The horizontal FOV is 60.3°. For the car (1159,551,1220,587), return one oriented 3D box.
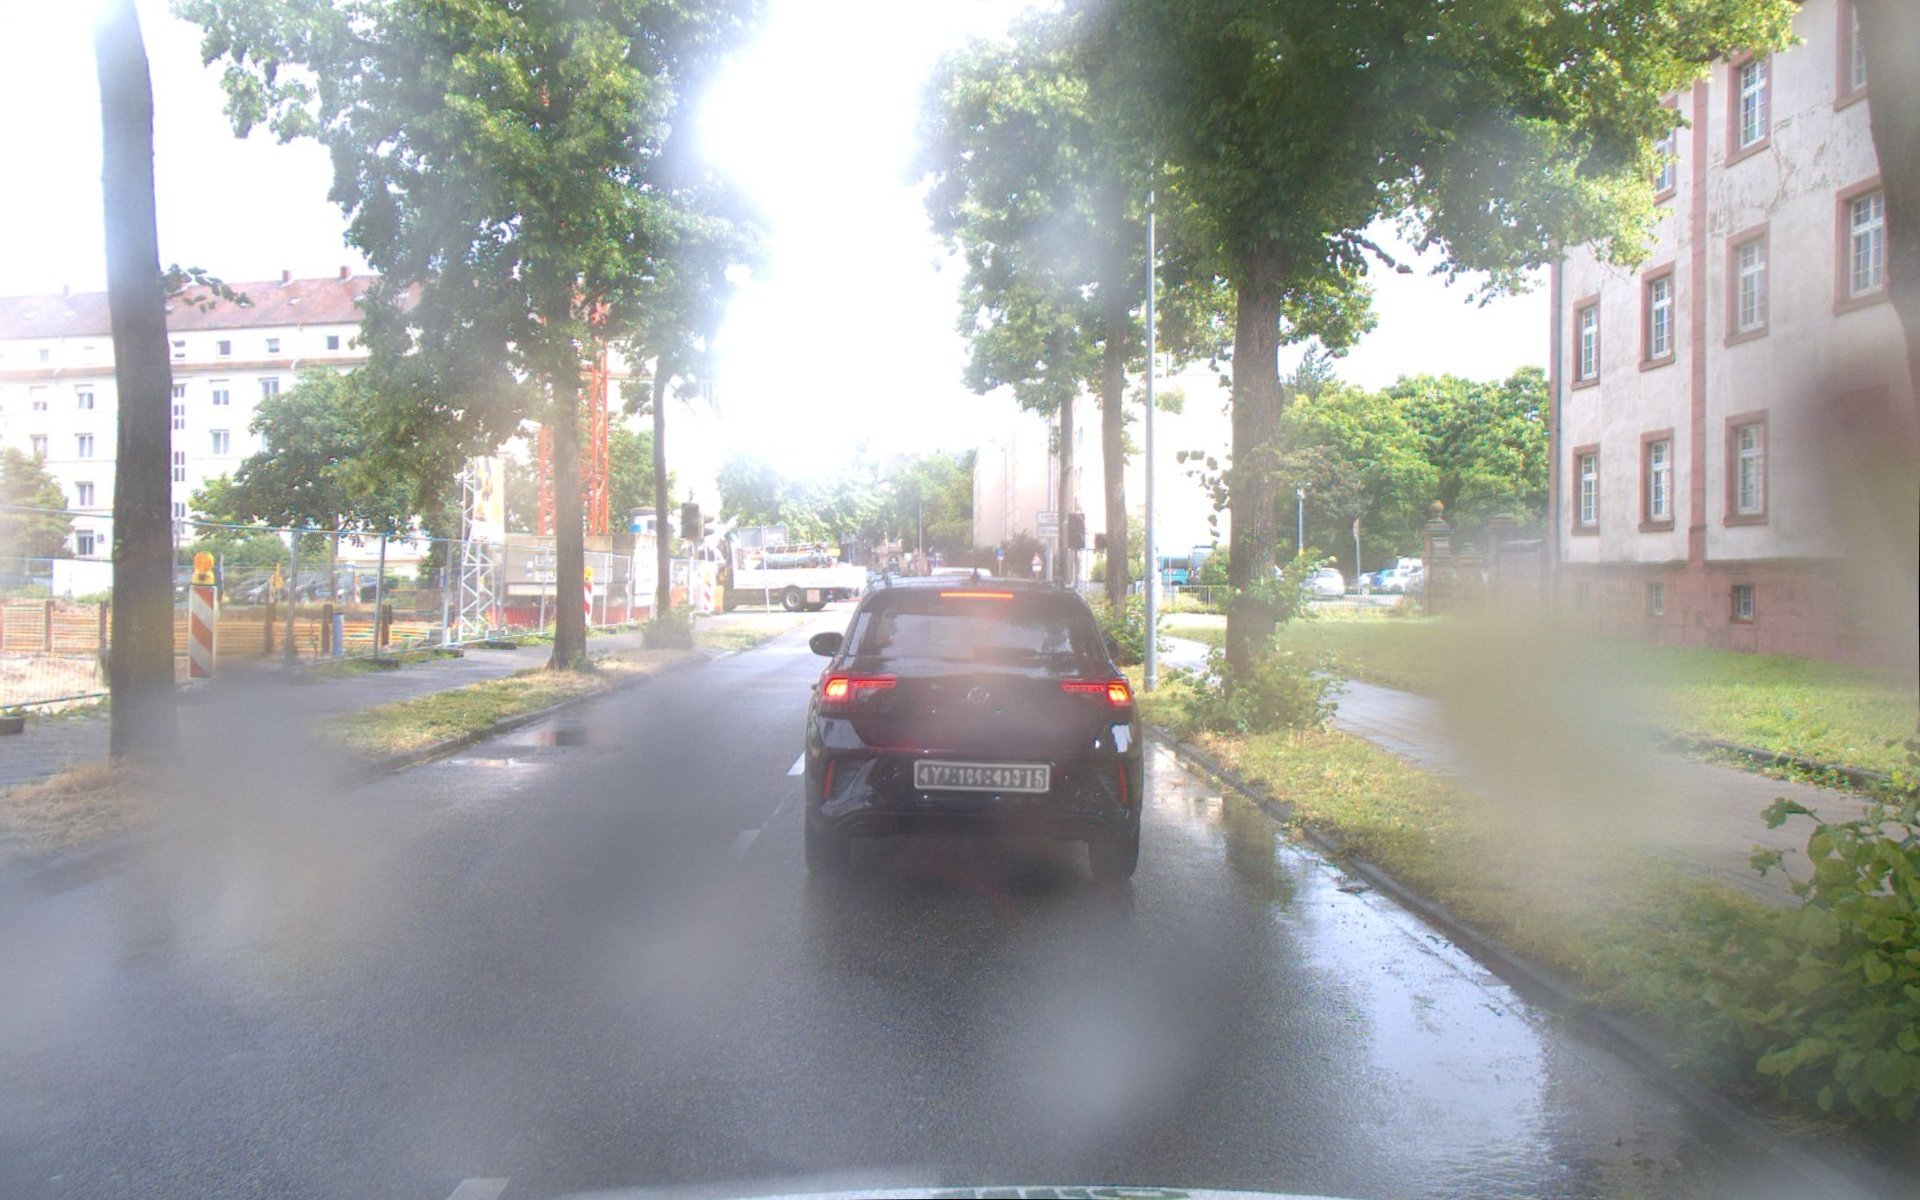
[{"bbox_3d":[13.112,-1.770,94.644,3.335,1.812,1.761,-3,0,8],"label":"car"}]

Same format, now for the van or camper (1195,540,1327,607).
[{"bbox_3d":[12.226,-1.083,67.347,4.931,2.641,2.167,-1,1,-2],"label":"van or camper"}]

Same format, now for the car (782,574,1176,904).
[{"bbox_3d":[0.063,0.632,9.843,1.856,1.549,4.000,1,1,-1],"label":"car"}]

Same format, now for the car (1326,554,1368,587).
[{"bbox_3d":[23.893,-1.822,102.190,1.828,1.889,3.812,-3,1,3],"label":"car"}]

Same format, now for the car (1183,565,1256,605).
[{"bbox_3d":[12.407,-0.736,79.267,3.335,1.812,1.761,-1,1,6],"label":"car"}]

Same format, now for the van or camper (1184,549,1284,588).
[{"bbox_3d":[13.961,-1.621,84.461,4.775,1.959,2.131,1,1,0],"label":"van or camper"}]

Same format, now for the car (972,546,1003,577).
[{"bbox_3d":[1.847,-2.625,112.831,1.953,2.049,3.999,0,0,-1],"label":"car"}]

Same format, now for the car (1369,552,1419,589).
[{"bbox_3d":[25.290,-1.719,96.443,1.952,2.048,4.002,-3,1,3],"label":"car"}]

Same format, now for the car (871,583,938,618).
[{"bbox_3d":[-2.982,-0.006,89.753,1.722,1.679,3.927,-3,1,31],"label":"car"}]

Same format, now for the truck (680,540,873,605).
[{"bbox_3d":[-8.068,-1.261,72.684,8.045,2.702,2.815,1,2,21],"label":"truck"}]

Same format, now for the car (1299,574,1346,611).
[{"bbox_3d":[17.696,-0.390,80.839,1.706,1.713,3.873,-3,1,5],"label":"car"}]

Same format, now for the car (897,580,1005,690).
[{"bbox_3d":[-0.096,0.569,29.168,1.645,1.738,3.911,-2,0,2],"label":"car"}]

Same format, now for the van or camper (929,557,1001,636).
[{"bbox_3d":[0.165,-0.126,43.654,1.782,1.981,4.195,1,1,1],"label":"van or camper"}]
